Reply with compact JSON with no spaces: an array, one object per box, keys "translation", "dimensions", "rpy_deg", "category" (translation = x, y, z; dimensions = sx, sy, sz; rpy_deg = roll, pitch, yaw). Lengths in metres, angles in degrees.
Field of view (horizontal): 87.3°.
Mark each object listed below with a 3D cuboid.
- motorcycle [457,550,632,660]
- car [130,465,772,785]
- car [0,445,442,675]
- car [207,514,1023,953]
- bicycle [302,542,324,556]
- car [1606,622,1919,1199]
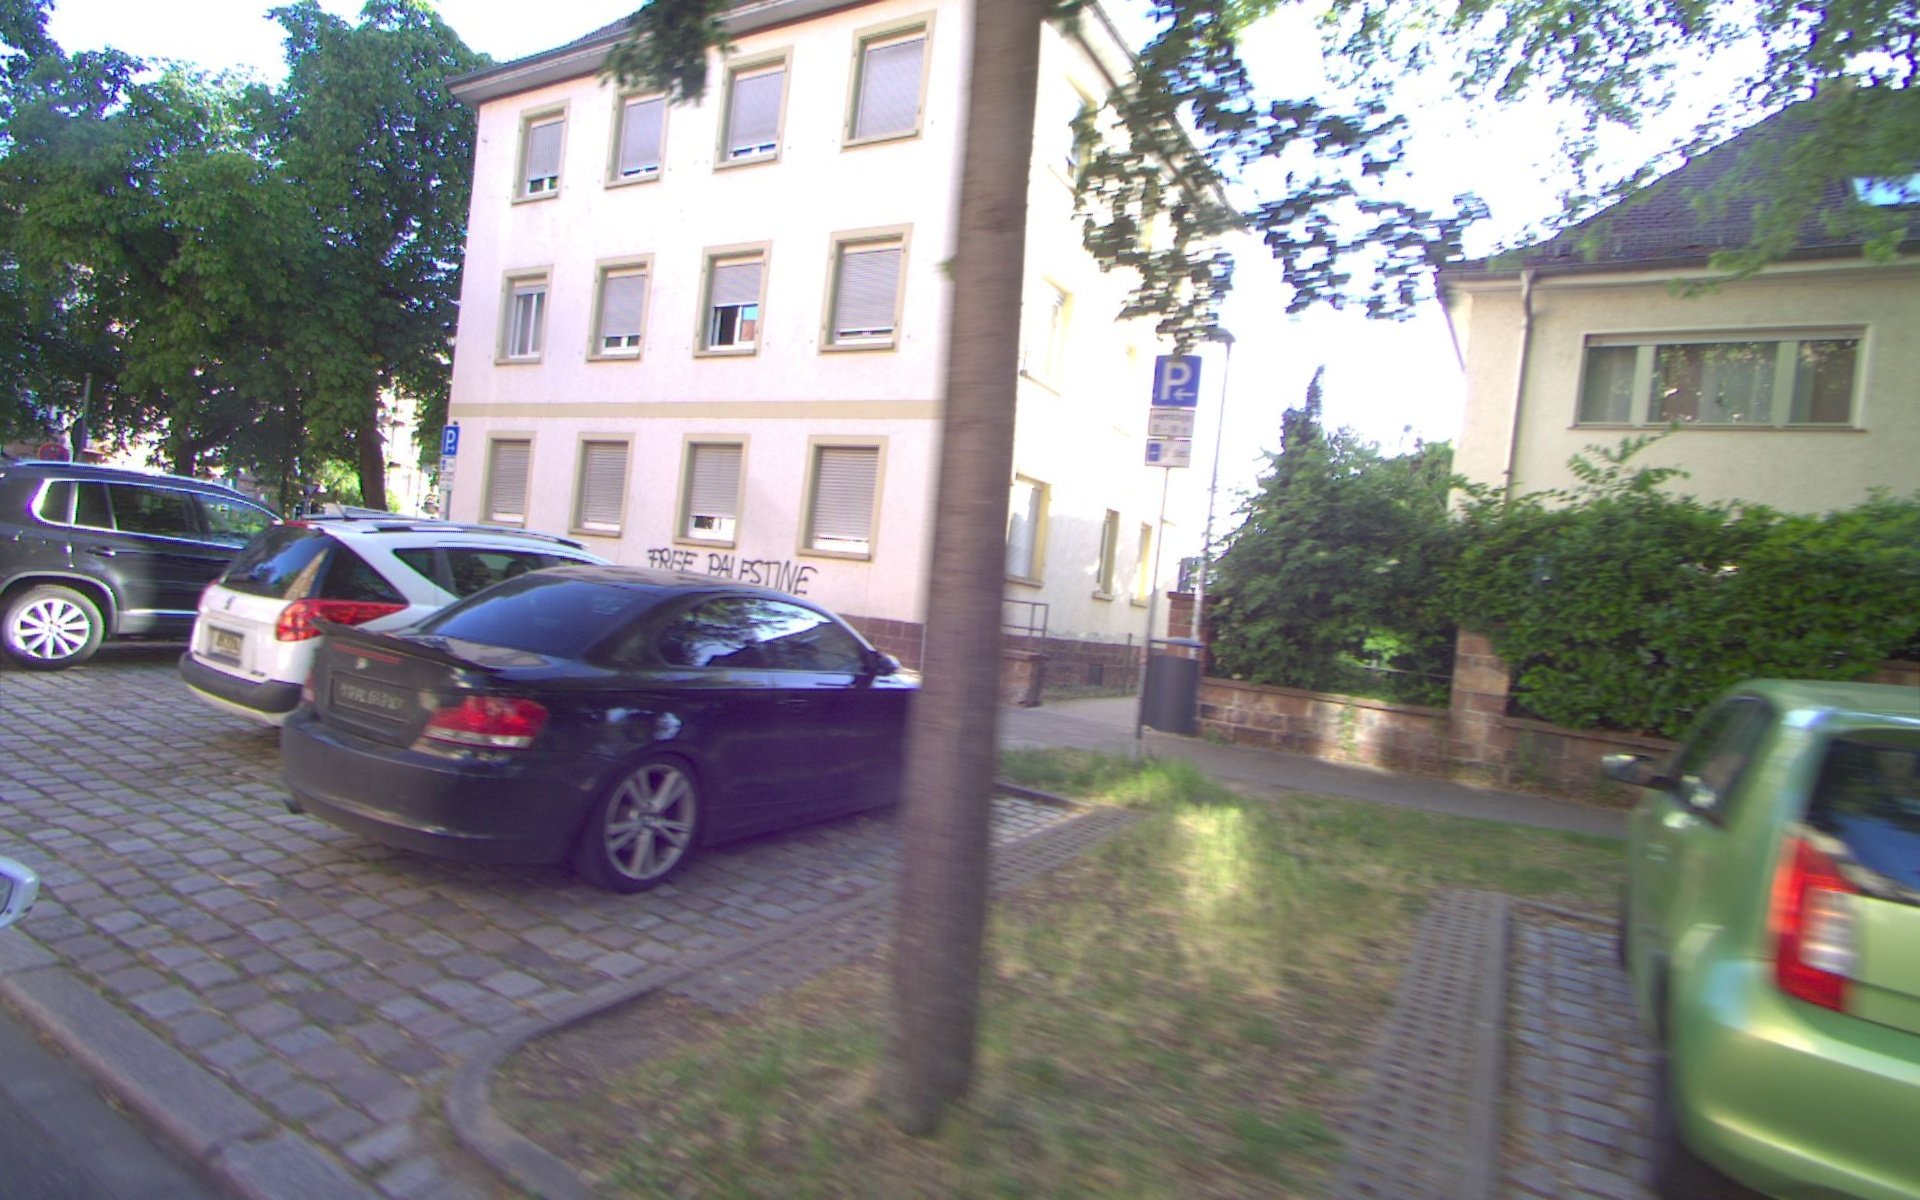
[{"translation":[-5.955,0.073,14.422],"dimensions":[2.142,1.296,0.978],"rpy_deg":[7,0,23],"category":"motorcycle"},{"translation":[-3.368,0.225,7.307],"dimensions":[1.677,1.671,3.696],"rpy_deg":[7,-1,34],"category":"car"},{"translation":[-7.442,-0.331,9.412],"dimensions":[1.988,1.734,4.114],"rpy_deg":[8,1,27],"category":"car"},{"translation":[-1.429,0.490,5.664],"dimensions":[1.762,1.430,4.106],"rpy_deg":[7,2,31],"category":"car"},{"translation":[-47.348,-3.754,73.654],"dimensions":[0.442,0.872,1.223],"rpy_deg":[7,-1,26],"category":"bicycle"},{"translation":[3.293,0.988,3.369],"dimensions":[1.650,1.524,3.592],"rpy_deg":[7,1,32],"category":"car"}]
